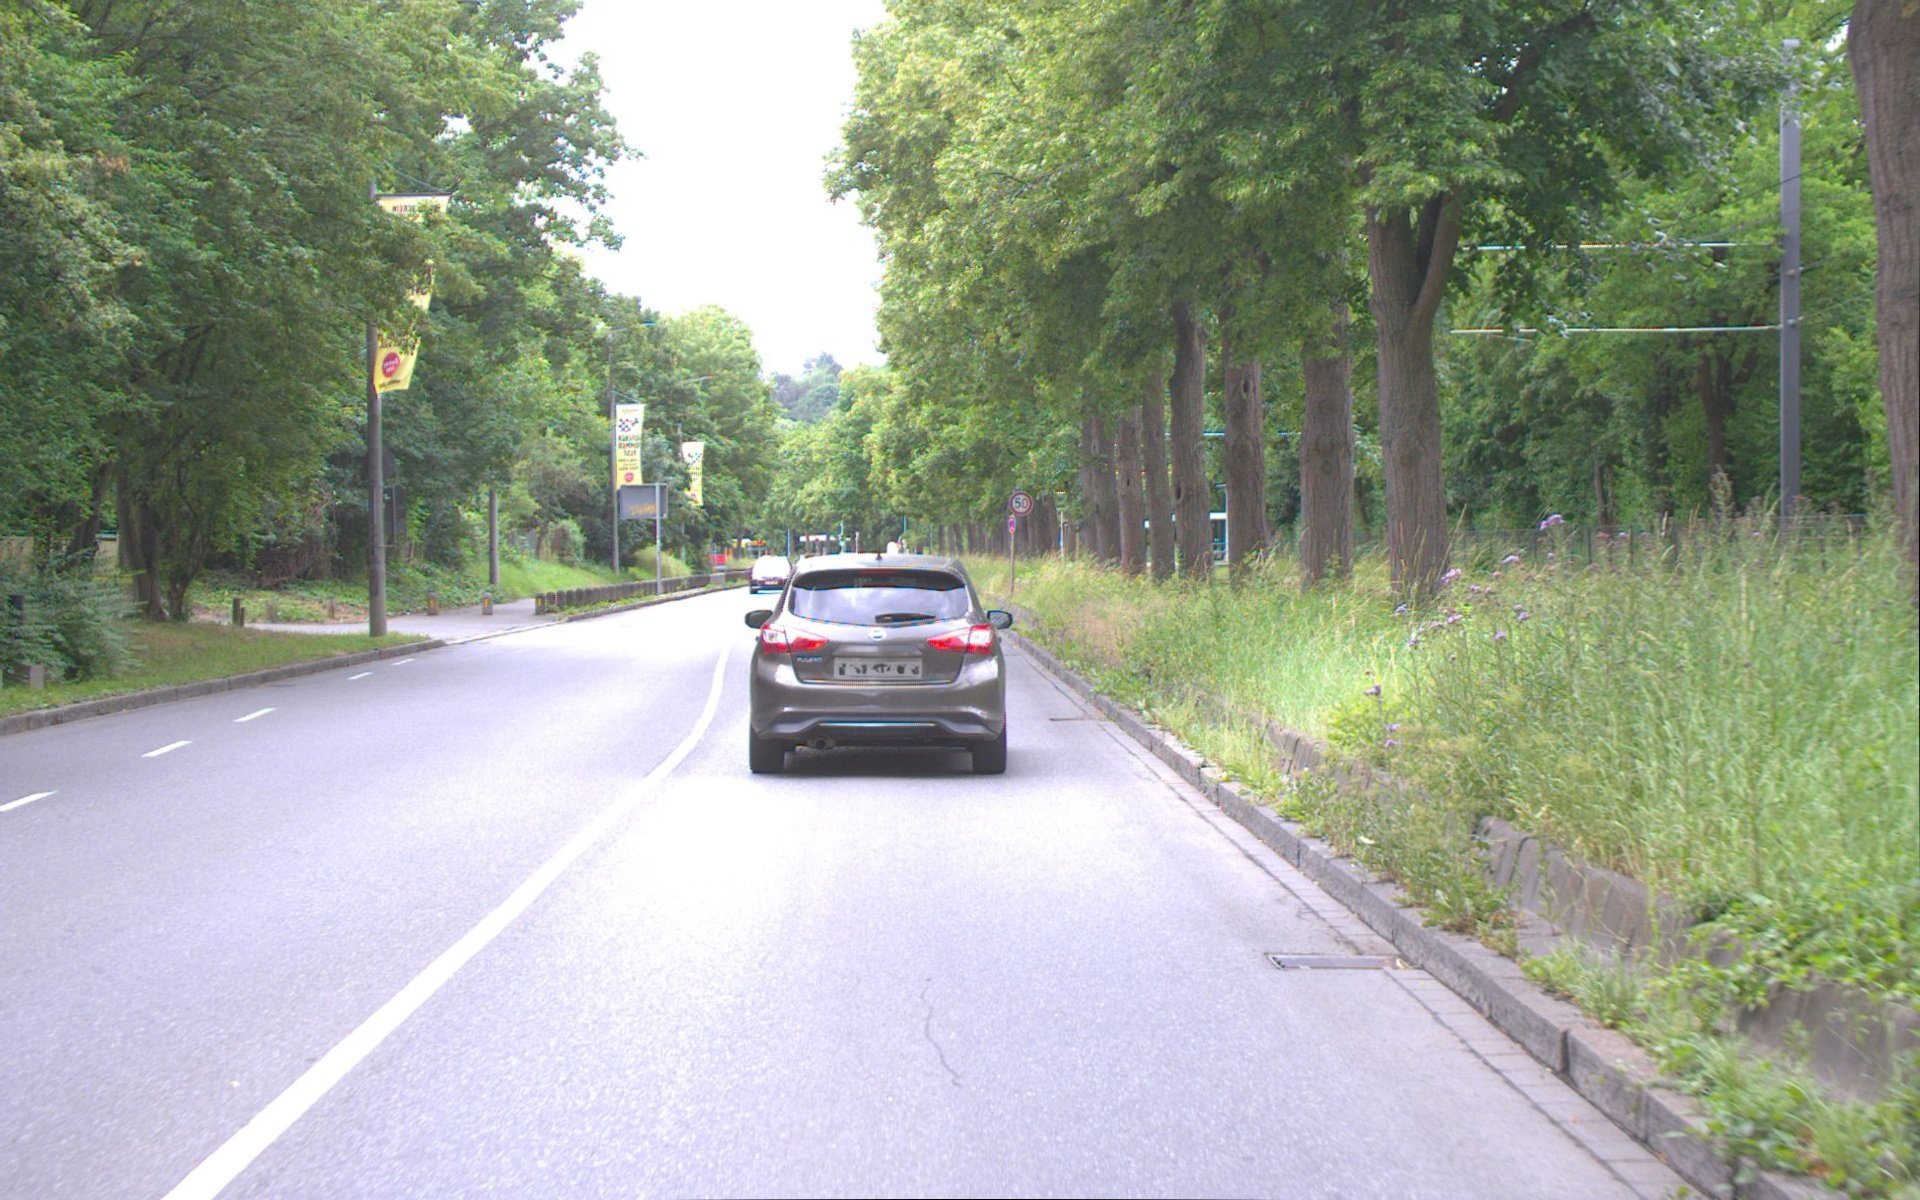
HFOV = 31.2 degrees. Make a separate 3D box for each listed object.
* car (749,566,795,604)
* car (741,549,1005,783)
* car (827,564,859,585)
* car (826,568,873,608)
[{"bbox_3d":[-7.407,-0.603,135.653,1.716,1.423,4.197,-2,1,-3],"label":"car"},{"bbox_3d":[-0.631,0.422,24.604,1.730,1.532,3.552,1,0,-2],"label":"car"},{"bbox_3d":[-8.144,-1.753,239.059,1.561,1.436,3.553,1,1,-14],"label":"car"},{"bbox_3d":[-4.138,-0.459,128.953,1.561,1.436,3.552,1,0,1],"label":"car"}]
